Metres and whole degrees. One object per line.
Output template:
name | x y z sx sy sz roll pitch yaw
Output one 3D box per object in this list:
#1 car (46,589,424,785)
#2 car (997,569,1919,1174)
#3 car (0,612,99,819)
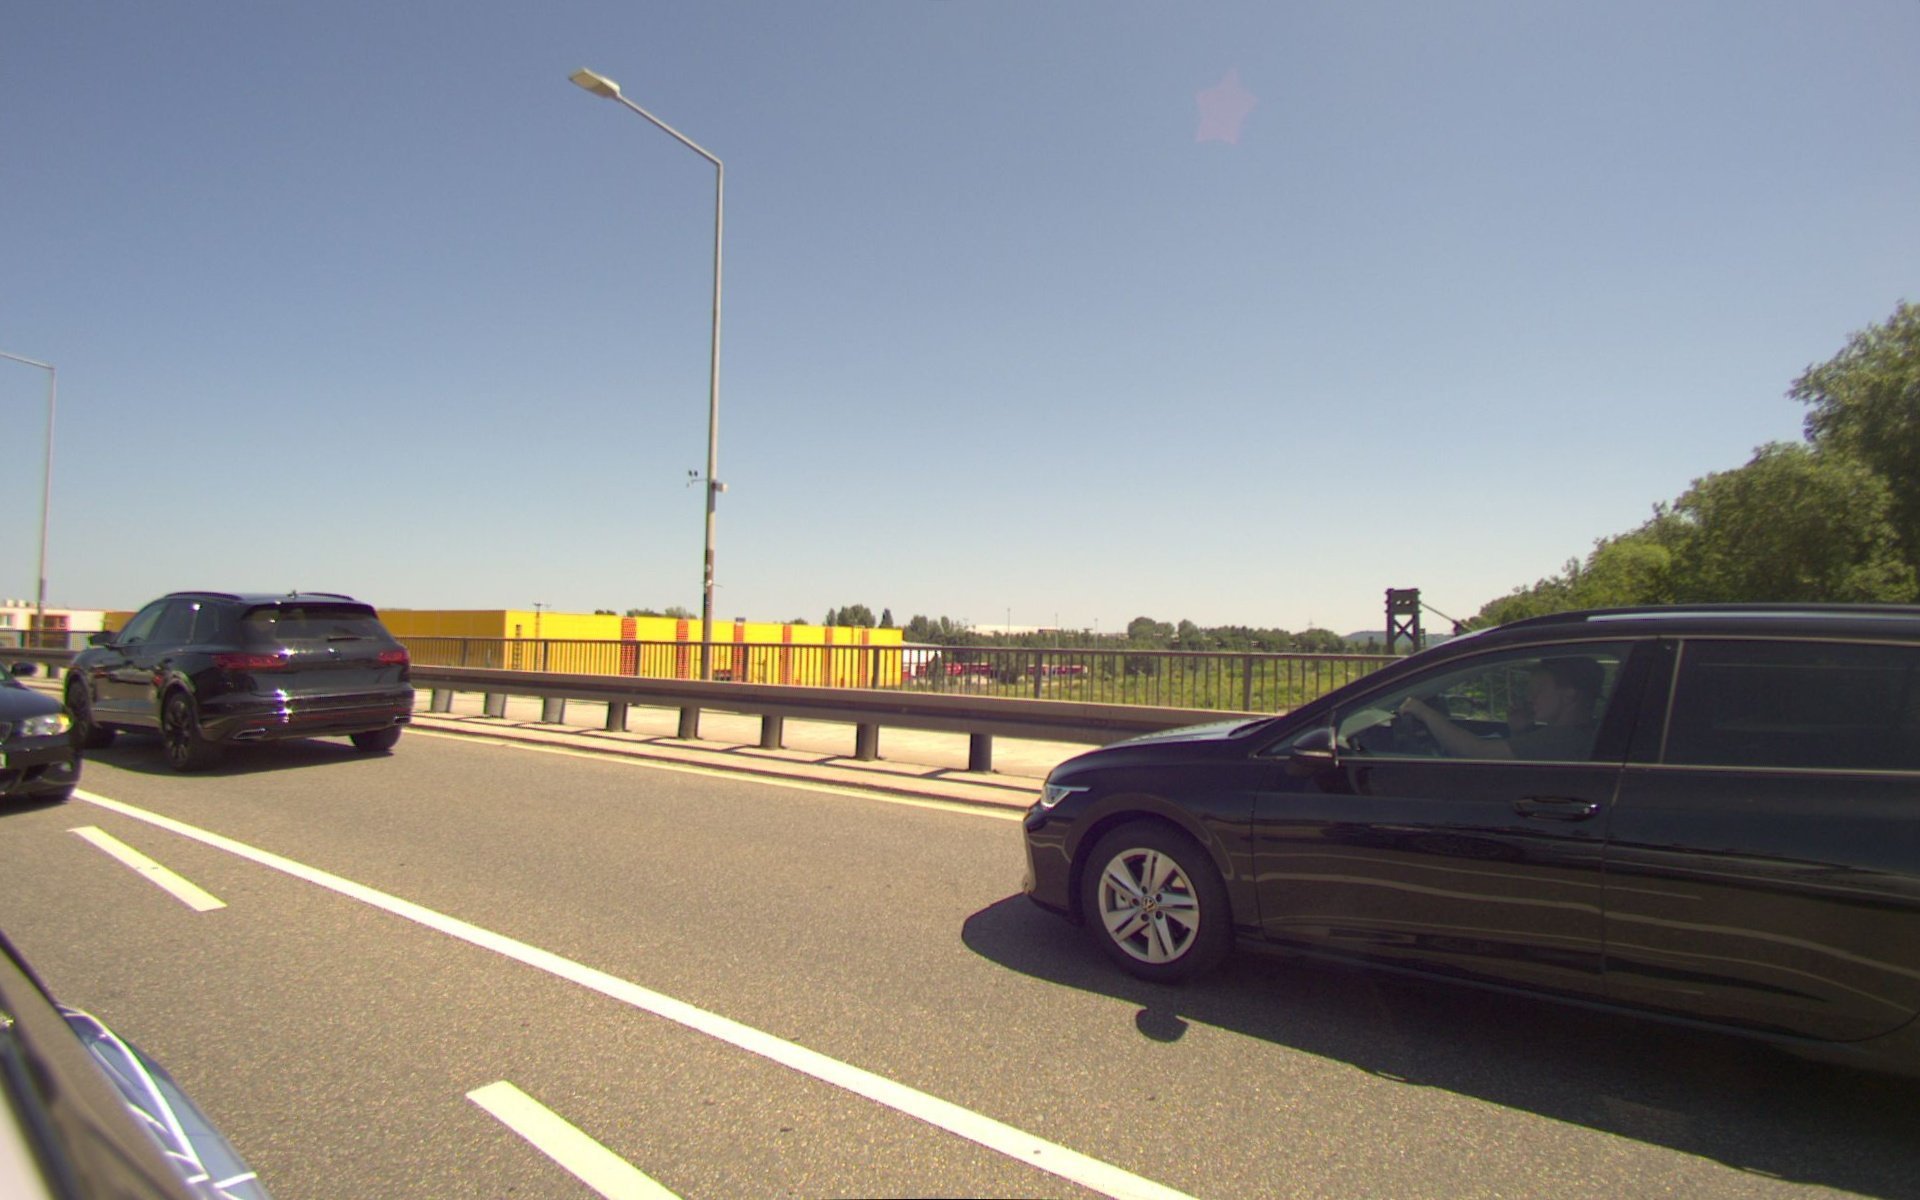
car | -7.885 0.777 10.863 4.604 1.686 1.949 -1 -1 36
car | 2.392 0.681 3.563 4.457 1.480 1.692 -1 -1 41
car | -8.817 0.837 8.179 4.513 1.466 1.774 -1 -1 35
